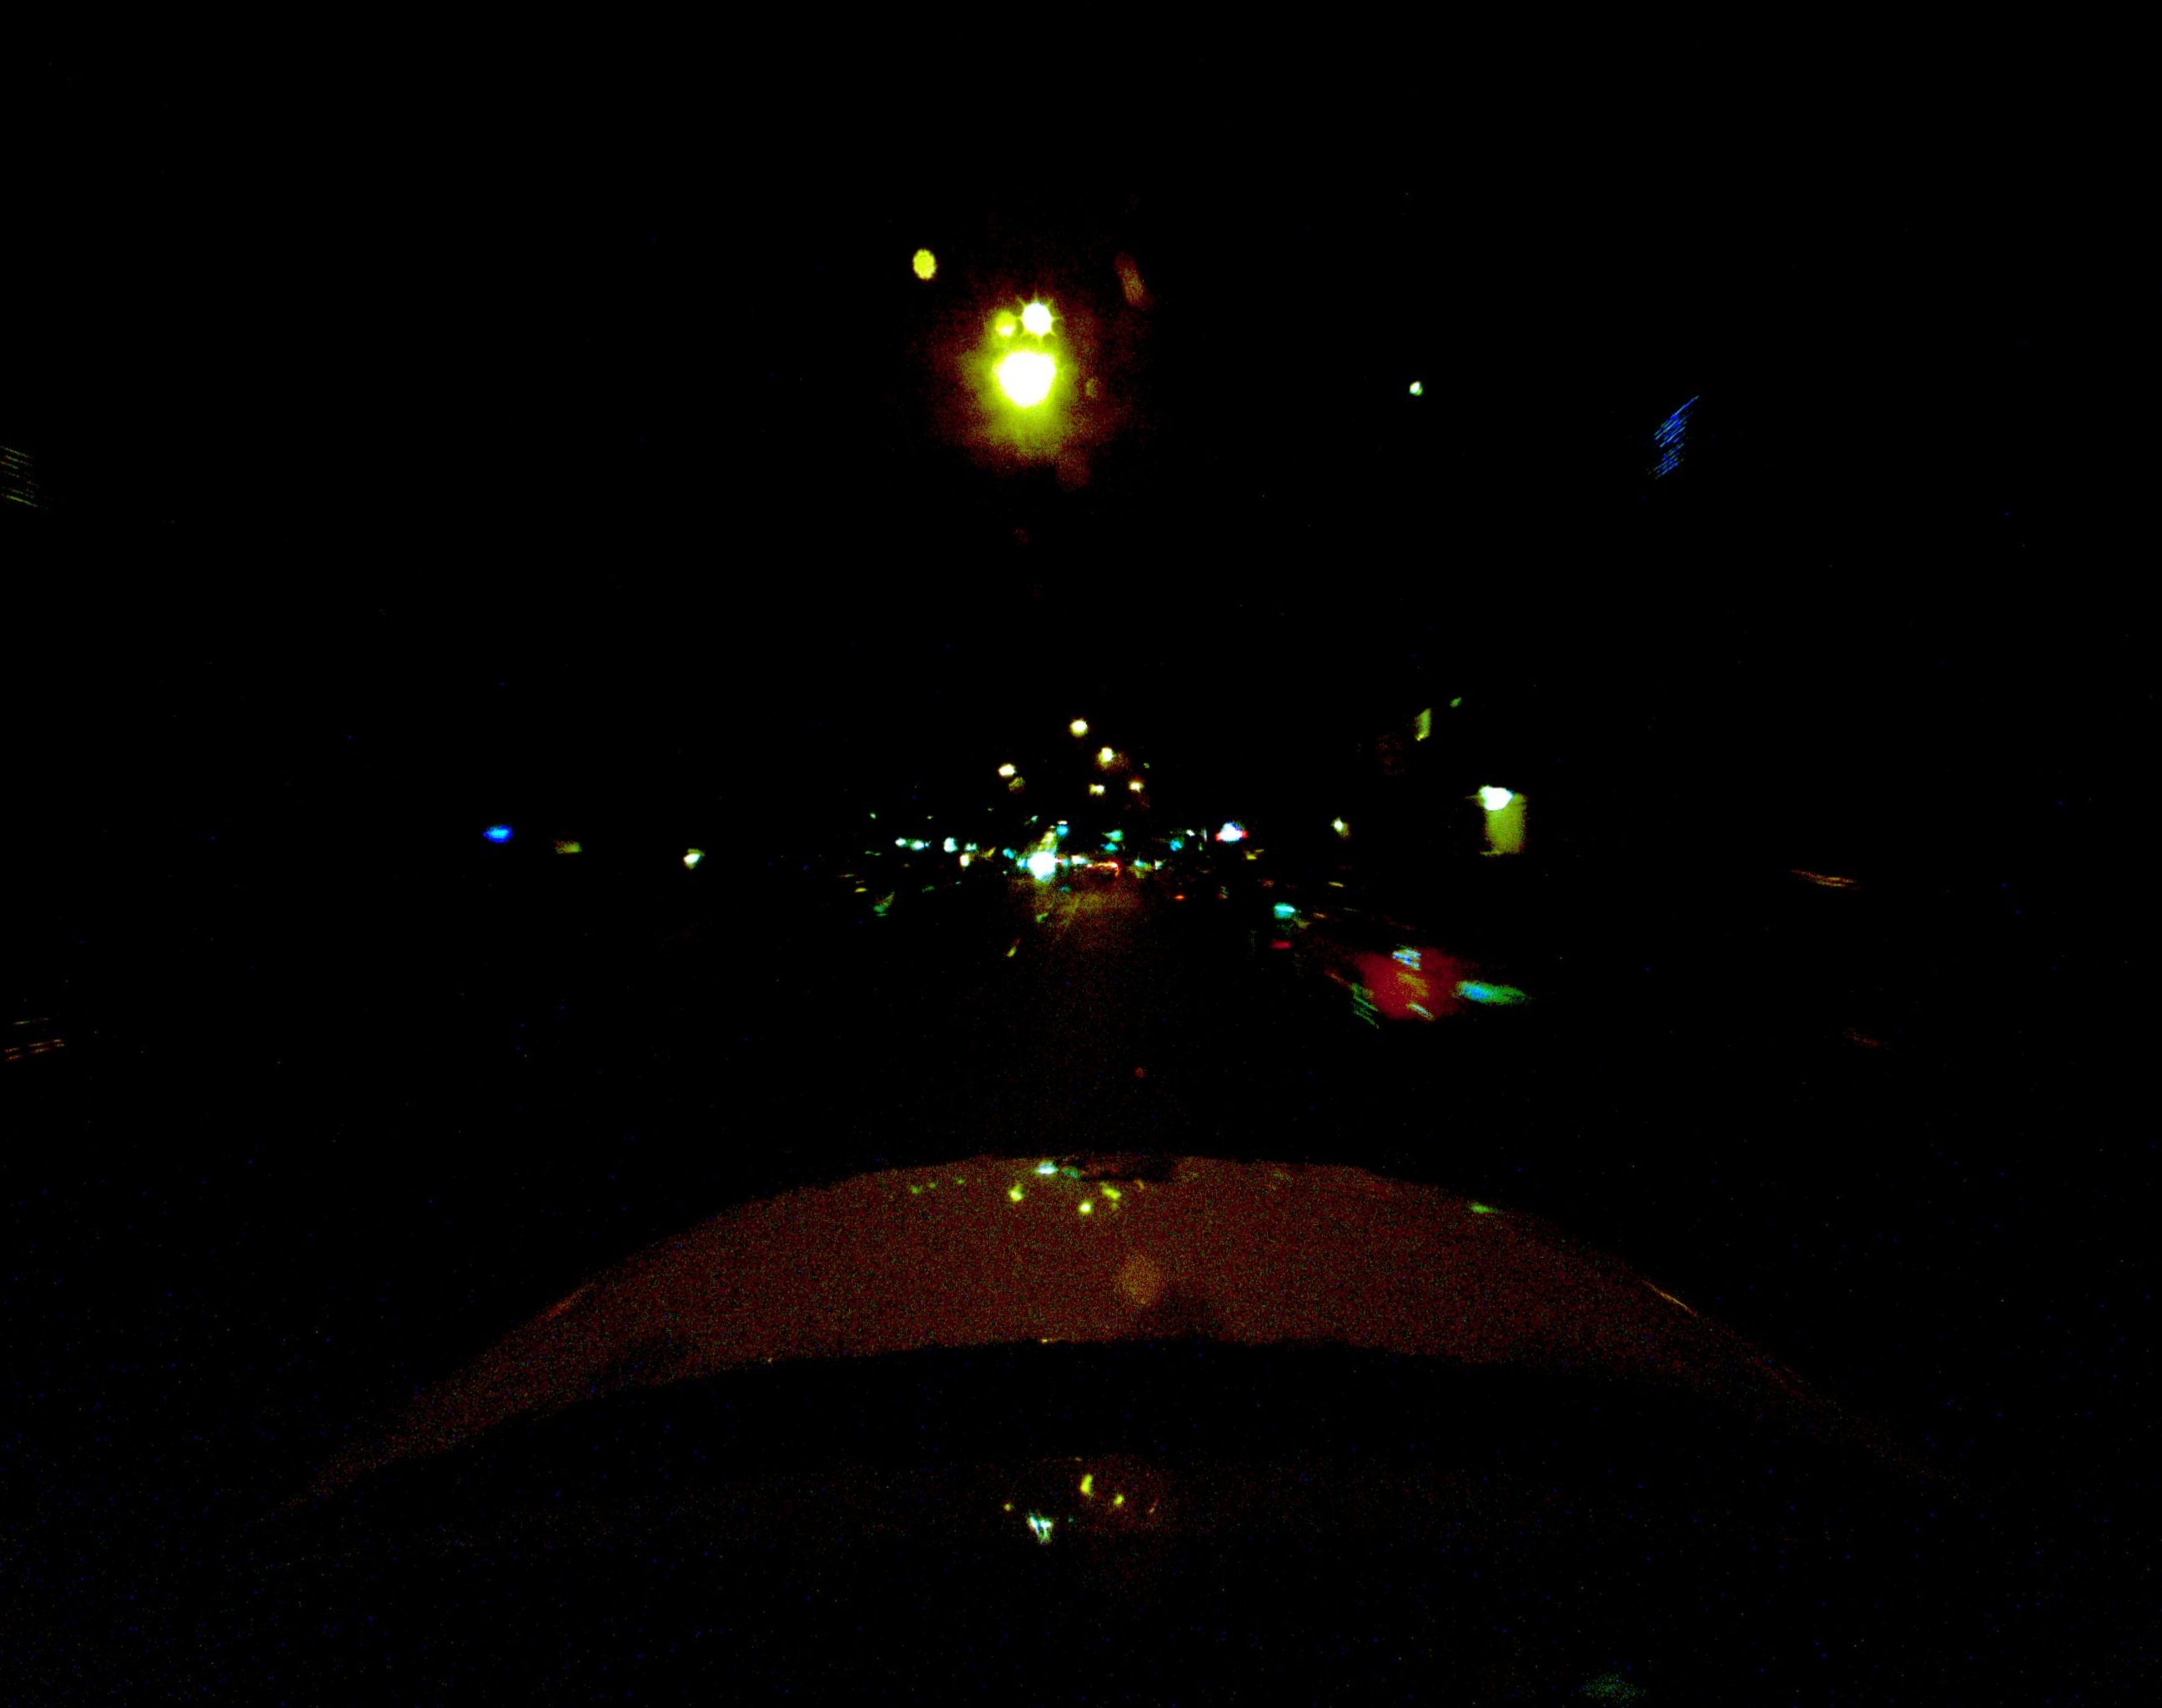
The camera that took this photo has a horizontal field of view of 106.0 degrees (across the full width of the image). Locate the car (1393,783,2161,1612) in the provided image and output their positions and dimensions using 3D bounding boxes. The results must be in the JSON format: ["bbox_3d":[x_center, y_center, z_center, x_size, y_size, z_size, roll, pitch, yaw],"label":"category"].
[{"bbox_3d":[2.917,0.588,2.982,1.747,1.547,4.981,-4,0,2],"label":"car"}]

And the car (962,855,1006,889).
[{"bbox_3d":[-5.140,0.894,43.581,1.592,1.564,4.381,-6,0,2],"label":"car"}]

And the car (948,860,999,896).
[{"bbox_3d":[-4.998,1.083,38.439,1.592,1.373,4.355,-6,0,2],"label":"car"}]

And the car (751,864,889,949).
[{"bbox_3d":[-5.473,1.021,17.609,1.593,1.431,4.003,-6,0,0],"label":"car"}]

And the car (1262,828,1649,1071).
[{"bbox_3d":[3.040,0.652,7.760,1.817,1.547,4.356,-4,0,3],"label":"car"}]

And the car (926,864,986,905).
[{"bbox_3d":[-5.035,1.209,33.340,1.592,1.373,4.068,-6,0,2],"label":"car"}]

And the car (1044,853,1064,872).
[{"bbox_3d":[-3.200,0.990,95.639,2.029,1.953,5.195,-5,1,-2],"label":"car"}]

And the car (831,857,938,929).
[{"bbox_3d":[-5.191,0.960,22.101,1.592,1.605,4.260,-6,0,2],"label":"car"}]

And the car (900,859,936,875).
[{"bbox_3d":[-16.633,1.316,83.378,1.699,1.431,3.939,-3,0,20],"label":"car"}]

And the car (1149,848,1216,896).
[{"bbox_3d":[3.650,0.612,30.130,1.816,1.530,4.783,-4,0,0],"label":"car"}]

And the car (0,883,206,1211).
[{"bbox_3d":[-5.726,0.967,2.866,1.426,1.460,3.376,-6,0,2],"label":"car"}]

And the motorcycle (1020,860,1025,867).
[{"bbox_3d":[-10.631,1.736,148.437,0.698,1.138,2.177,-3,0,2],"label":"motorcycle"}]

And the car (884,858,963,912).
[{"bbox_3d":[-5.229,0.978,27.513,1.592,1.486,4.276,-6,0,2],"label":"car"}]

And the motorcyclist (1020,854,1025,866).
[{"bbox_3d":[-10.673,1.067,148.409,0.690,2.013,0.983,-3,0,2],"label":"motorcyclist"}]

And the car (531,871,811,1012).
[{"bbox_3d":[-5.779,1.104,12.319,1.632,1.456,4.932,-6,0,0],"label":"car"}]

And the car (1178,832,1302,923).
[{"bbox_3d":[3.330,0.455,17.941,1.816,1.637,4.488,-4,0,0],"label":"car"}]

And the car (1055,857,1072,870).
[{"bbox_3d":[-2.293,1.237,106.592,1.815,1.542,4.718,-3,0,-5],"label":"car"}]

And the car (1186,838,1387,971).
[{"bbox_3d":[2.884,0.626,12.662,1.793,1.530,5.052,-4,0,0],"label":"car"}]

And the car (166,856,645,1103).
[{"bbox_3d":[-5.735,0.902,7.520,1.469,1.619,3.373,-6,0,0],"label":"car"}]

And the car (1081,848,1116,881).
[{"bbox_3d":[1.154,0.652,53.639,2.160,1.972,4.302,-3,0,1],"label":"car"}]

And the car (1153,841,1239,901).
[{"bbox_3d":[3.192,0.445,23.484,1.816,1.422,4.488,-4,0,0],"label":"car"}]
